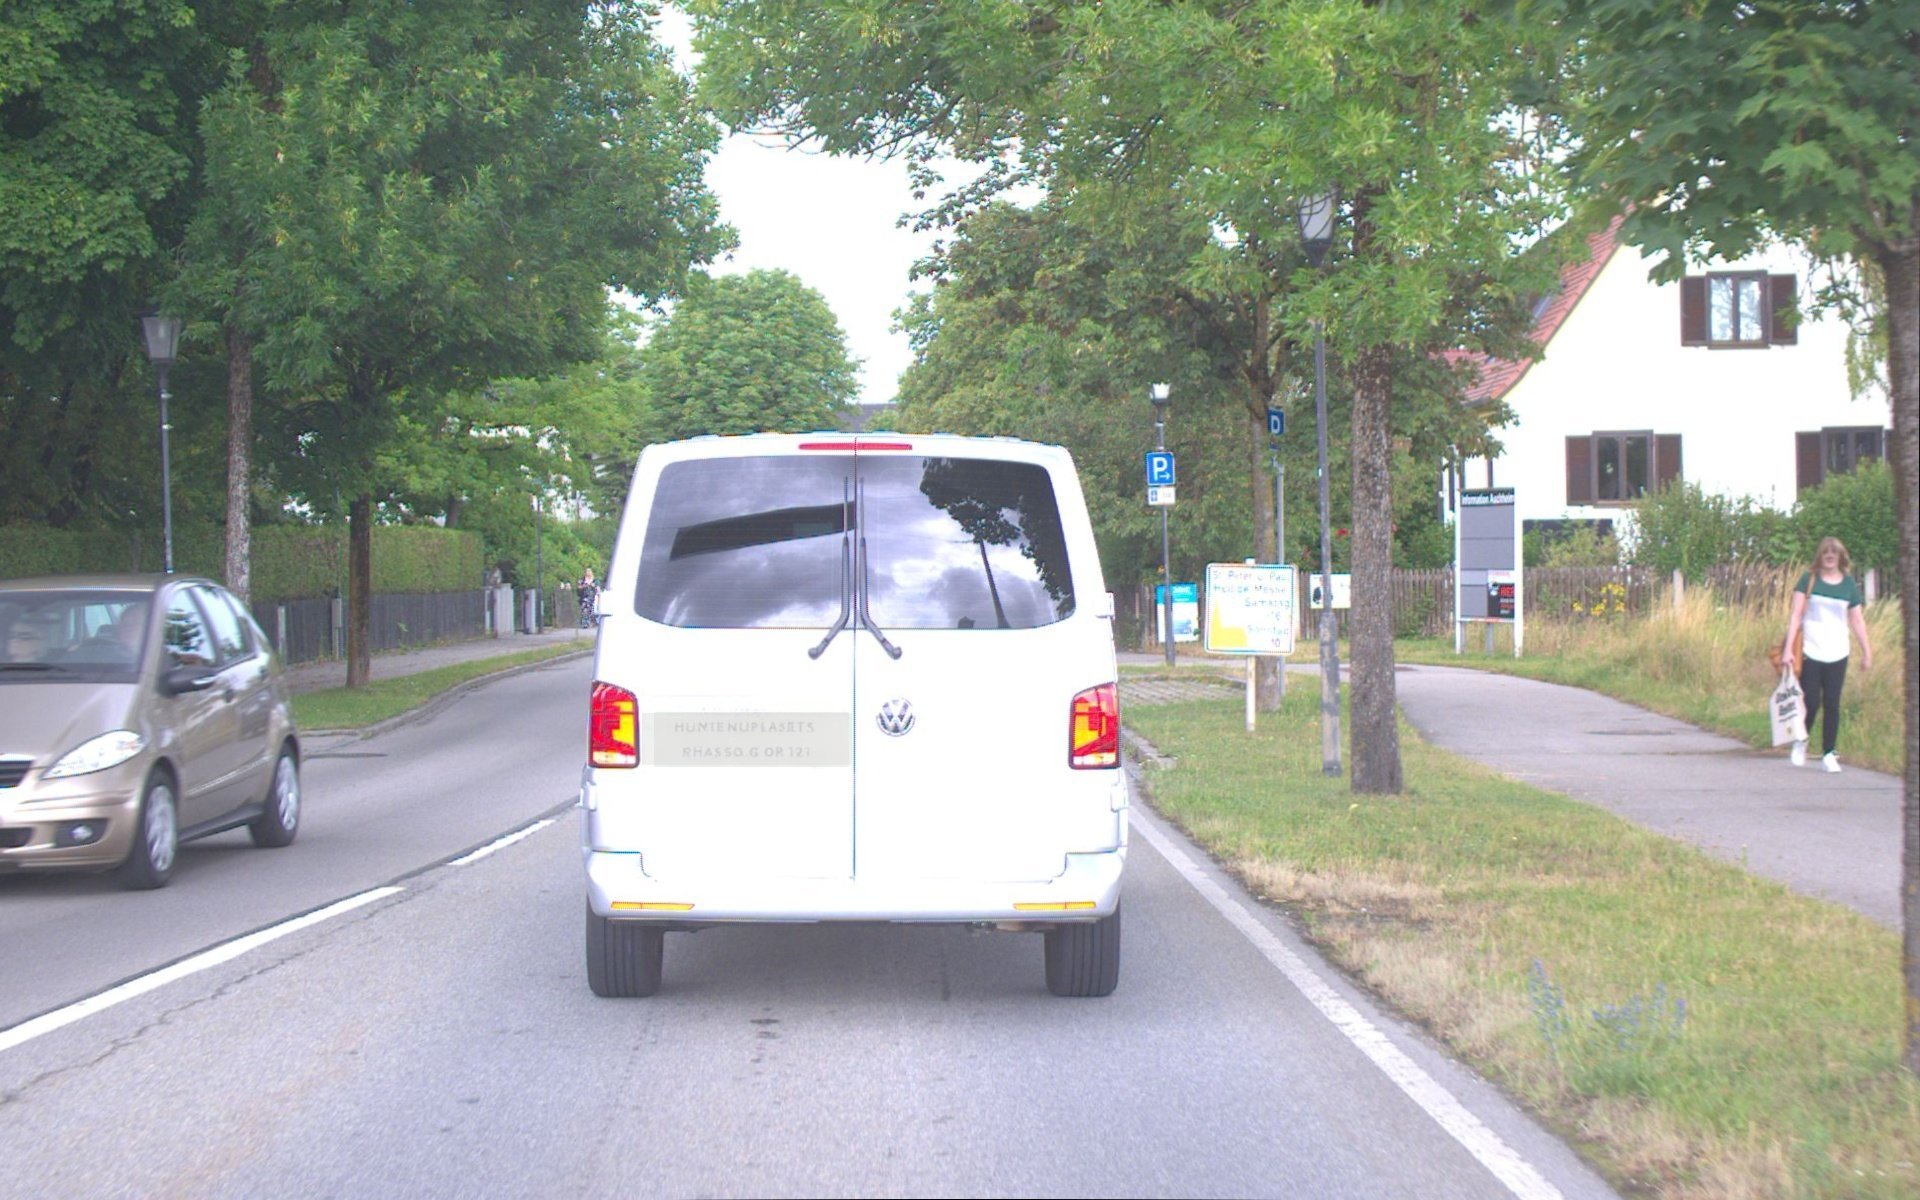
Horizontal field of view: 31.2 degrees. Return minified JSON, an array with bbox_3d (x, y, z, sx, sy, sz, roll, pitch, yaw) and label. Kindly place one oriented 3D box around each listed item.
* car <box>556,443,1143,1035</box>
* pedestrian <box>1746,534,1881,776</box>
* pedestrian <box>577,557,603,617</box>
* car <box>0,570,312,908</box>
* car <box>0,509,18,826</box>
[{"bbox_3d":[-0.376,0.431,13.073,1.888,1.905,4.000,0,0,-1],"label":"car"},{"bbox_3d":[6.260,0.393,25.252,0.837,1.749,0.869,0,1,5],"label":"pedestrian"},{"bbox_3d":[-9.557,-0.343,88.745,0.622,1.544,0.522,1,0,-4],"label":"pedestrian"},{"bbox_3d":[-4.685,0.662,17.954,1.707,1.527,3.507,-2,1,3],"label":"car"},{"bbox_3d":[-7.067,0.462,19.800,1.830,2.023,5.046,1,1,1],"label":"car"}]
